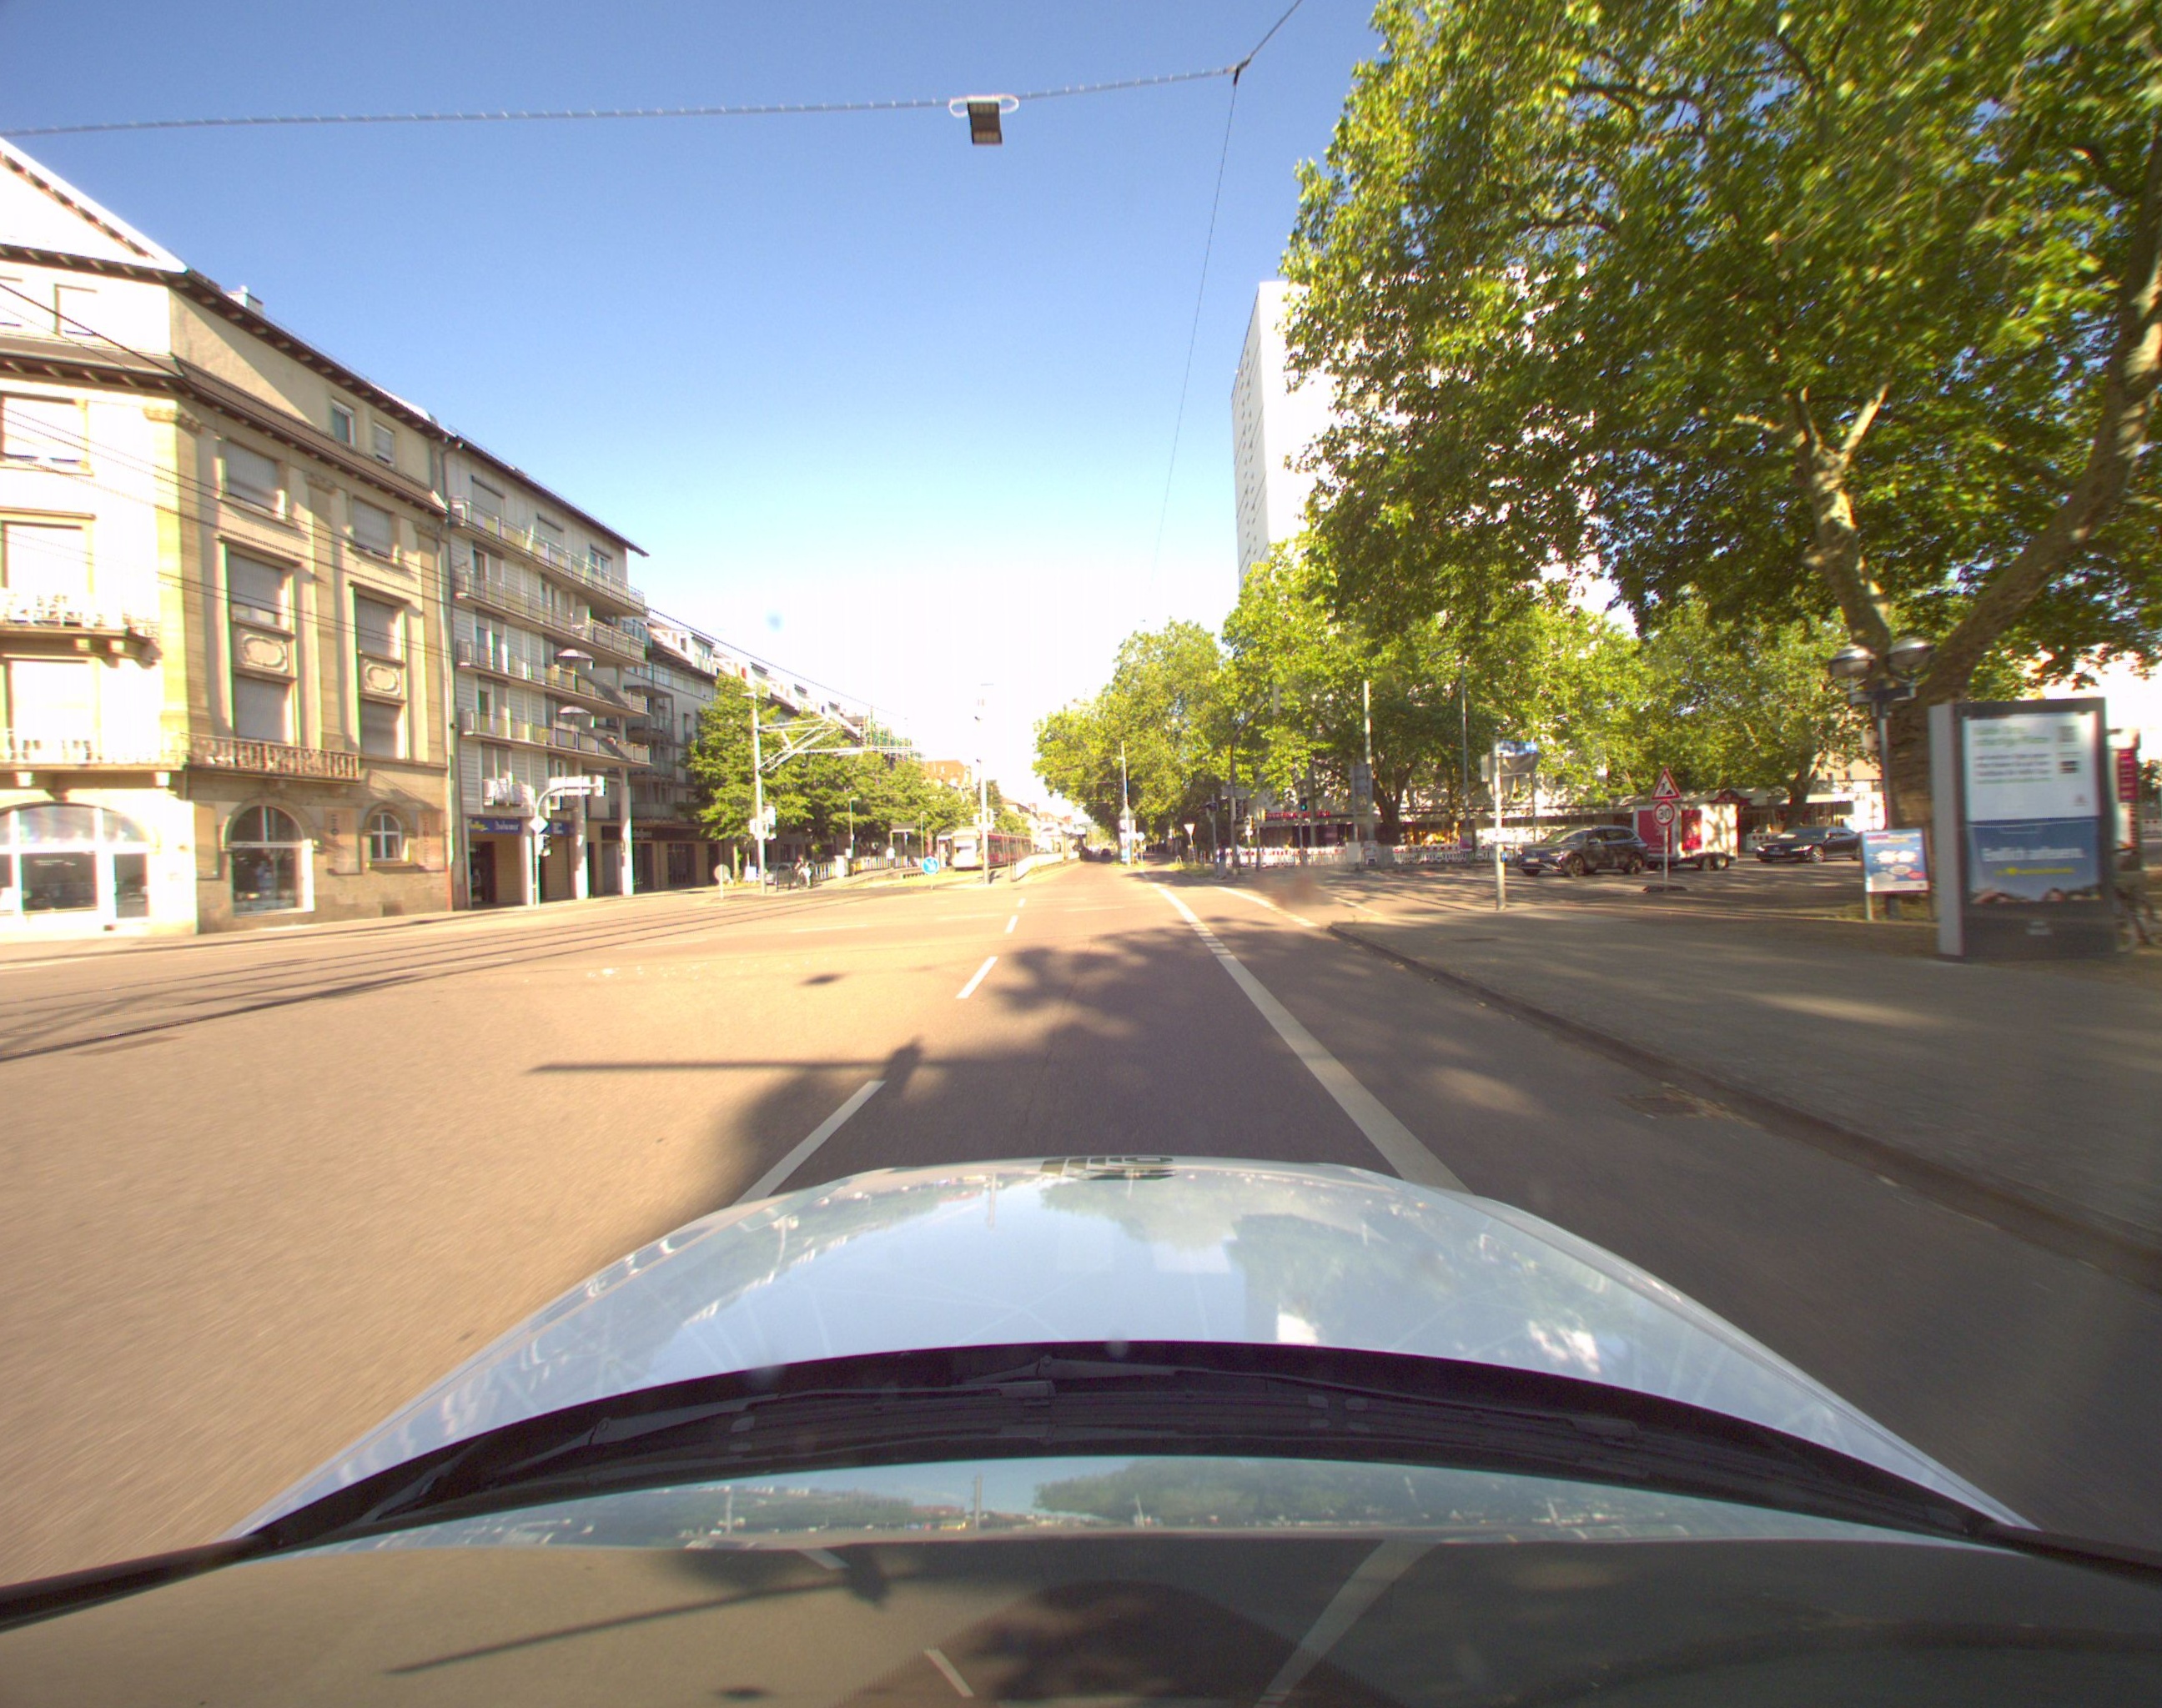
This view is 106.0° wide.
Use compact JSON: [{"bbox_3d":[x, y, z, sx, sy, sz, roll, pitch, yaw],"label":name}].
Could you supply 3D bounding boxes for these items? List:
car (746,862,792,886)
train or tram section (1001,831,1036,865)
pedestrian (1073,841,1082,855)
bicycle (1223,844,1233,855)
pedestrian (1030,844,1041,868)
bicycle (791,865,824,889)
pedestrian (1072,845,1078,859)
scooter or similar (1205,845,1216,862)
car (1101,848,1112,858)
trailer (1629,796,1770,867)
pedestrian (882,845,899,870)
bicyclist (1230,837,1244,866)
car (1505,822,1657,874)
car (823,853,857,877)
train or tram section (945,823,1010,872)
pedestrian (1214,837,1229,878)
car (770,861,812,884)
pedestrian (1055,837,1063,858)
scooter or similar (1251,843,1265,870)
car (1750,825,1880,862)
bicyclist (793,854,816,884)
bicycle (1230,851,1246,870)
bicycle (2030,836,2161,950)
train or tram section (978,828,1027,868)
[{"bbox_3d":[-22.956,1.449,59.996,1.799,1.578,3.787,0,0,2],"label":"car"},{"bbox_3d":[-7.258,-0.654,96.008,2.858,3.685,9.691,-2,0,3],"label":"train or tram section"},{"bbox_3d":[-0.387,-0.757,99.980,0.913,1.722,0.625,0,0,-31],"label":"pedestrian"},{"bbox_3d":[15.505,-0.461,86.092,0.786,1.177,1.821,0,0,2],"label":"bicycle"},{"bbox_3d":[-3.108,0.127,55.856,0.627,1.609,0.982,0,0,1],"label":"pedestrian"},{"bbox_3d":[-12.899,1.066,38.428,0.529,1.053,1.832,-1,1,14],"label":"bicycle"},{"bbox_3d":[-0.730,-0.229,94.762,0.676,1.562,0.851,0,0,2],"label":"pedestrian"},{"bbox_3d":[9.704,-0.026,61.037,0.559,1.257,1.289,-3,0,-1],"label":"scooter or similar"},{"bbox_3d":[4.680,-0.194,148.228,1.986,1.684,4.003,0,0,2],"label":"car"},{"bbox_3d":[22.294,-0.814,29.372,4.516,2.373,1.901,-2,1,-20],"label":"trailer"},{"bbox_3d":[-12.564,0.222,53.770,0.896,1.580,0.958,0,0,0],"label":"pedestrian"},{"bbox_3d":[8.680,-0.145,45.282,0.601,1.551,0.860,-2,0,2],"label":"bicyclist"},{"bbox_3d":[16.731,-0.198,27.283,4.580,1.640,1.923,0,0,-20],"label":"car"},{"bbox_3d":[-22.347,0.997,75.740,1.933,2.166,3.787,0,0,2],"label":"car"},{"bbox_3d":[-8.553,-0.530,69.349,2.858,3.675,14.570,-2,0,3],"label":"train or tram section"},{"bbox_3d":[5.755,0.140,33.304,0.427,1.639,0.612,-1,0,-5],"label":"pedestrian"},{"bbox_3d":[-22.823,1.460,64.175,1.799,1.677,3.787,0,0,2],"label":"car"},{"bbox_3d":[-2.055,-0.631,74.703,0.667,1.902,0.824,0,0,1],"label":"pedestrian"},{"bbox_3d":[8.425,0.124,38.761,0.557,1.257,1.294,-3,0,11],"label":"scooter or similar"},{"bbox_3d":[28.642,-0.417,31.784,4.438,1.360,1.923,0,0,-20],"label":"car"},{"bbox_3d":[-12.957,0.701,38.228,0.529,1.372,1.023,-1,0,14],"label":"bicyclist"},{"bbox_3d":[8.702,0.349,45.237,0.601,1.026,1.767,-2,0,2],"label":"bicycle"},{"bbox_3d":[10.478,0.357,8.317,1.827,1.053,0.531,-1,0,-24],"label":"bicycle"},{"bbox_3d":[-7.836,-0.588,83.886,2.858,3.685,14.570,-2,0,3],"label":"train or tram section"}]
